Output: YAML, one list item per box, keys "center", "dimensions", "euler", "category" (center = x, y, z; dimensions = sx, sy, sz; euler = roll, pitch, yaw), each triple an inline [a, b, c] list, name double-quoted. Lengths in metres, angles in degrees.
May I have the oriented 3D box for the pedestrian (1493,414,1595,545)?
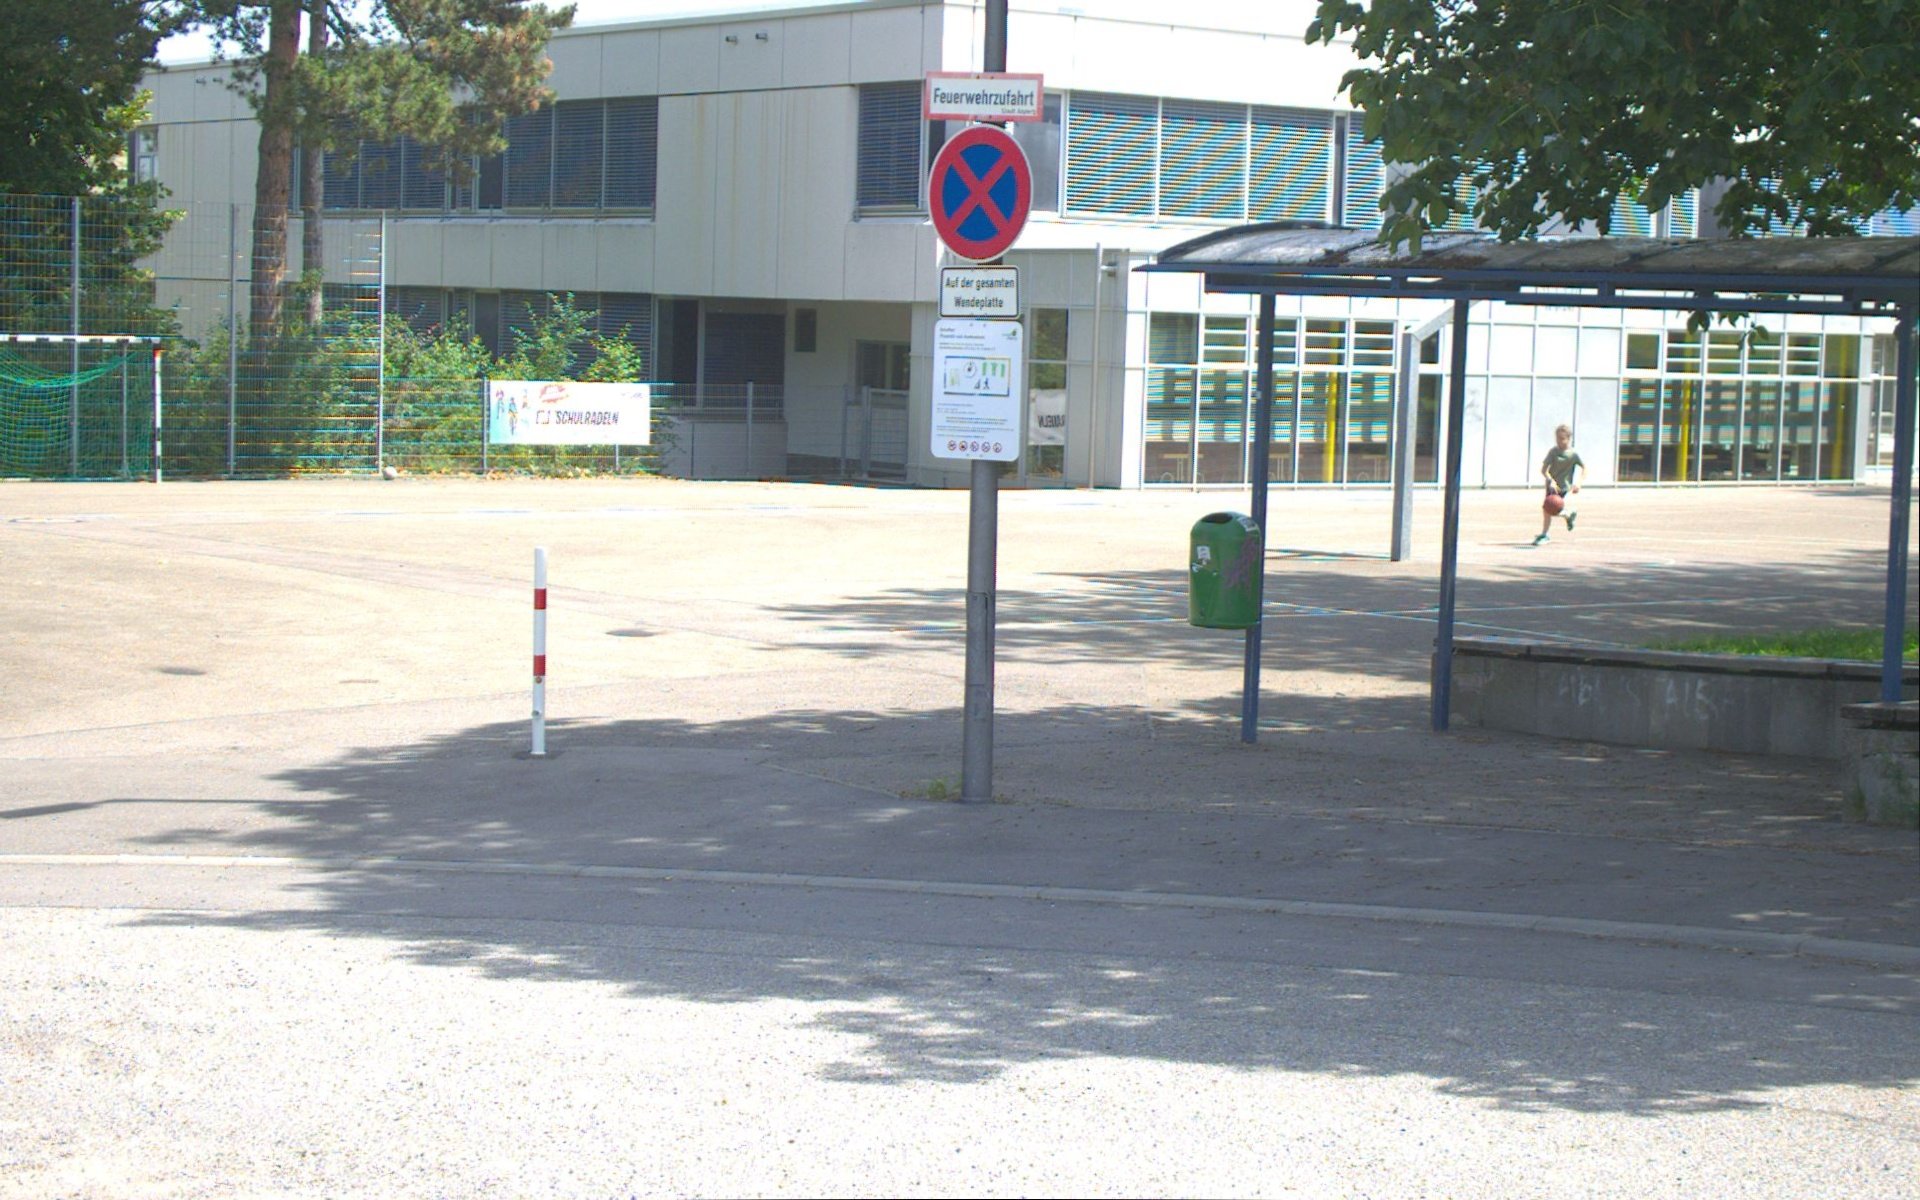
- center: [6.569, -1.364, 38.654]
  dimensions: [0.917, 1.418, 1.069]
  euler: [3, 3, 18]
  category: "pedestrian"
